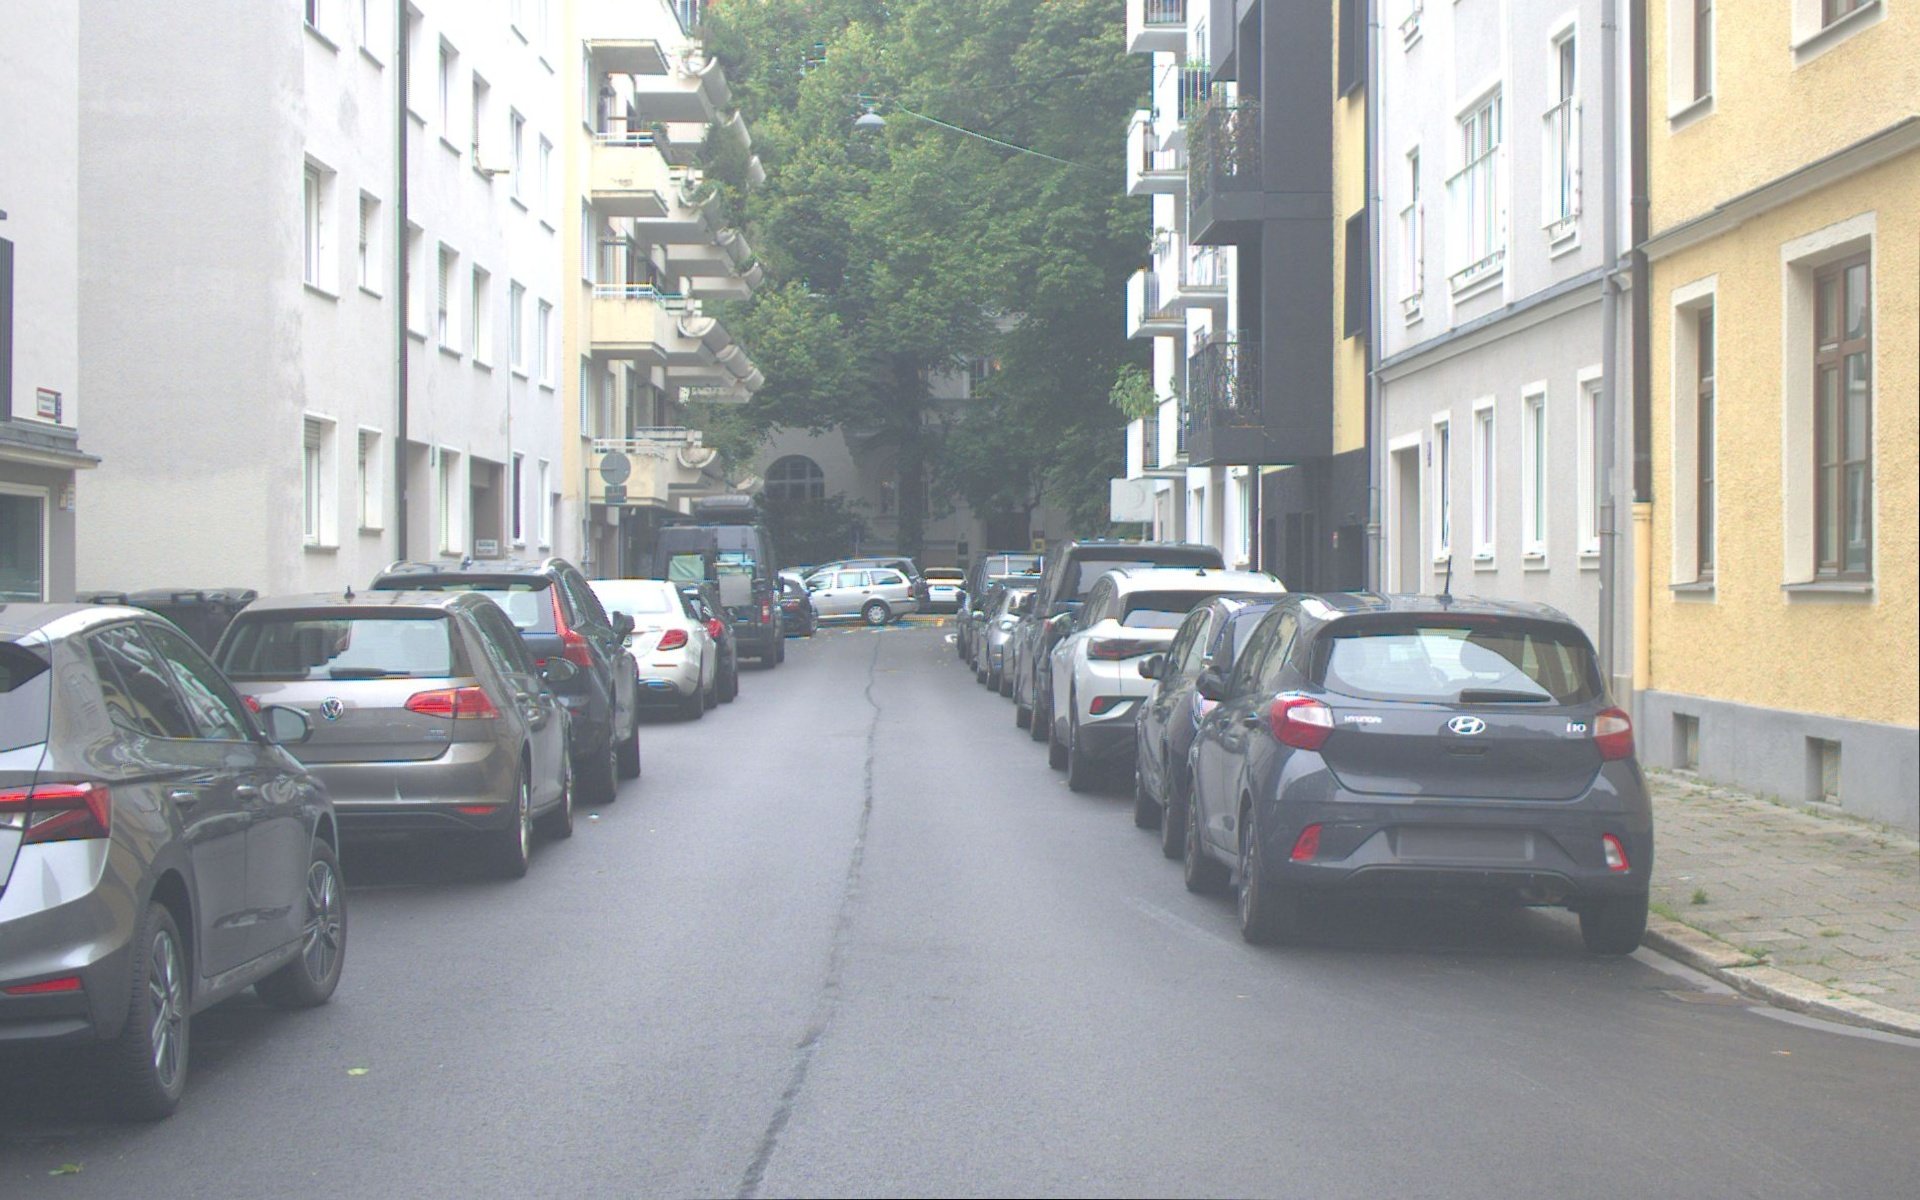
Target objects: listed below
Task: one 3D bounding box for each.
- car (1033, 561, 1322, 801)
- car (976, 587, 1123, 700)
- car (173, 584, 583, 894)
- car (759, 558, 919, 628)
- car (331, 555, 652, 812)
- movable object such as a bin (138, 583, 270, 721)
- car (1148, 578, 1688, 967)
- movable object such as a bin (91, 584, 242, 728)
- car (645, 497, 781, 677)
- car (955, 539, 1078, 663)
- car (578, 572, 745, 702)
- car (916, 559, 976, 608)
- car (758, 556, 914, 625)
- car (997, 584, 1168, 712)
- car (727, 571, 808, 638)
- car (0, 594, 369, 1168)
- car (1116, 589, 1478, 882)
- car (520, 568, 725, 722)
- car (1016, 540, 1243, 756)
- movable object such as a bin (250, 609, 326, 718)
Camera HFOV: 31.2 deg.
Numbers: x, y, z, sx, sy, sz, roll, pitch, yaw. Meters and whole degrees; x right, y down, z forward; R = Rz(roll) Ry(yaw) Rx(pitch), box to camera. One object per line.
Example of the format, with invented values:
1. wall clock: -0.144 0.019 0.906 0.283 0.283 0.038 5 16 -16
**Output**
1. car: 1.546 0.535 25.870 1.682 1.562 4.416 3 1 -2
2. car: 1.259 0.604 50.169 1.829 1.449 4.416 3 0 -2
3. car: -3.010 0.655 18.488 1.693 1.437 3.978 -1 1 -3
4. car: -3.011 -0.181 85.759 3.885 1.579 1.648 -2 1 -2
5. car: -3.206 0.510 24.311 1.776 1.624 4.415 -1 1 -2
6. movable object such as a bin: -7.605 0.515 34.613 1.047 1.332 0.993 -2 0 2
7. car: 1.970 0.685 16.058 1.751 1.464 4.343 3 1 -2
8. movable object such as a bin: -7.731 0.535 33.534 1.166 1.332 1.025 -2 0 2
9. car: -4.056 -0.234 57.074 1.936 2.792 4.533 -2 1 -2
10. car: 0.954 0.001 60.029 1.829 1.993 4.416 3 0 -2
11. car: -3.642 0.419 42.551 1.776 1.448 4.046 -2 1 -2
12. car: -0.436 -0.509 102.842 1.642 1.379 3.746 -2 1 -2
13. car: -3.161 -0.250 87.729 3.885 1.579 1.648 -2 1 -2
14. car: 1.524 0.583 44.308 1.829 1.449 4.416 3 0 -2
15. car: -4.217 0.082 75.827 1.642 1.379 3.483 -2 1 -2
16. car: -3.029 0.731 10.815 1.693 1.437 3.942 -1 1 -1
17. car: 1.896 0.723 20.383 1.664 1.464 3.819 3 1 -1
18. car: -3.601 0.439 37.363 1.776 1.482 4.519 -2 1 -1
19. car: 1.578 0.408 33.455 1.829 1.903 4.416 2 1 -1
20. movable object such as a bin: -6.472 0.607 33.128 0.650 1.017 0.585 2 0 -7
